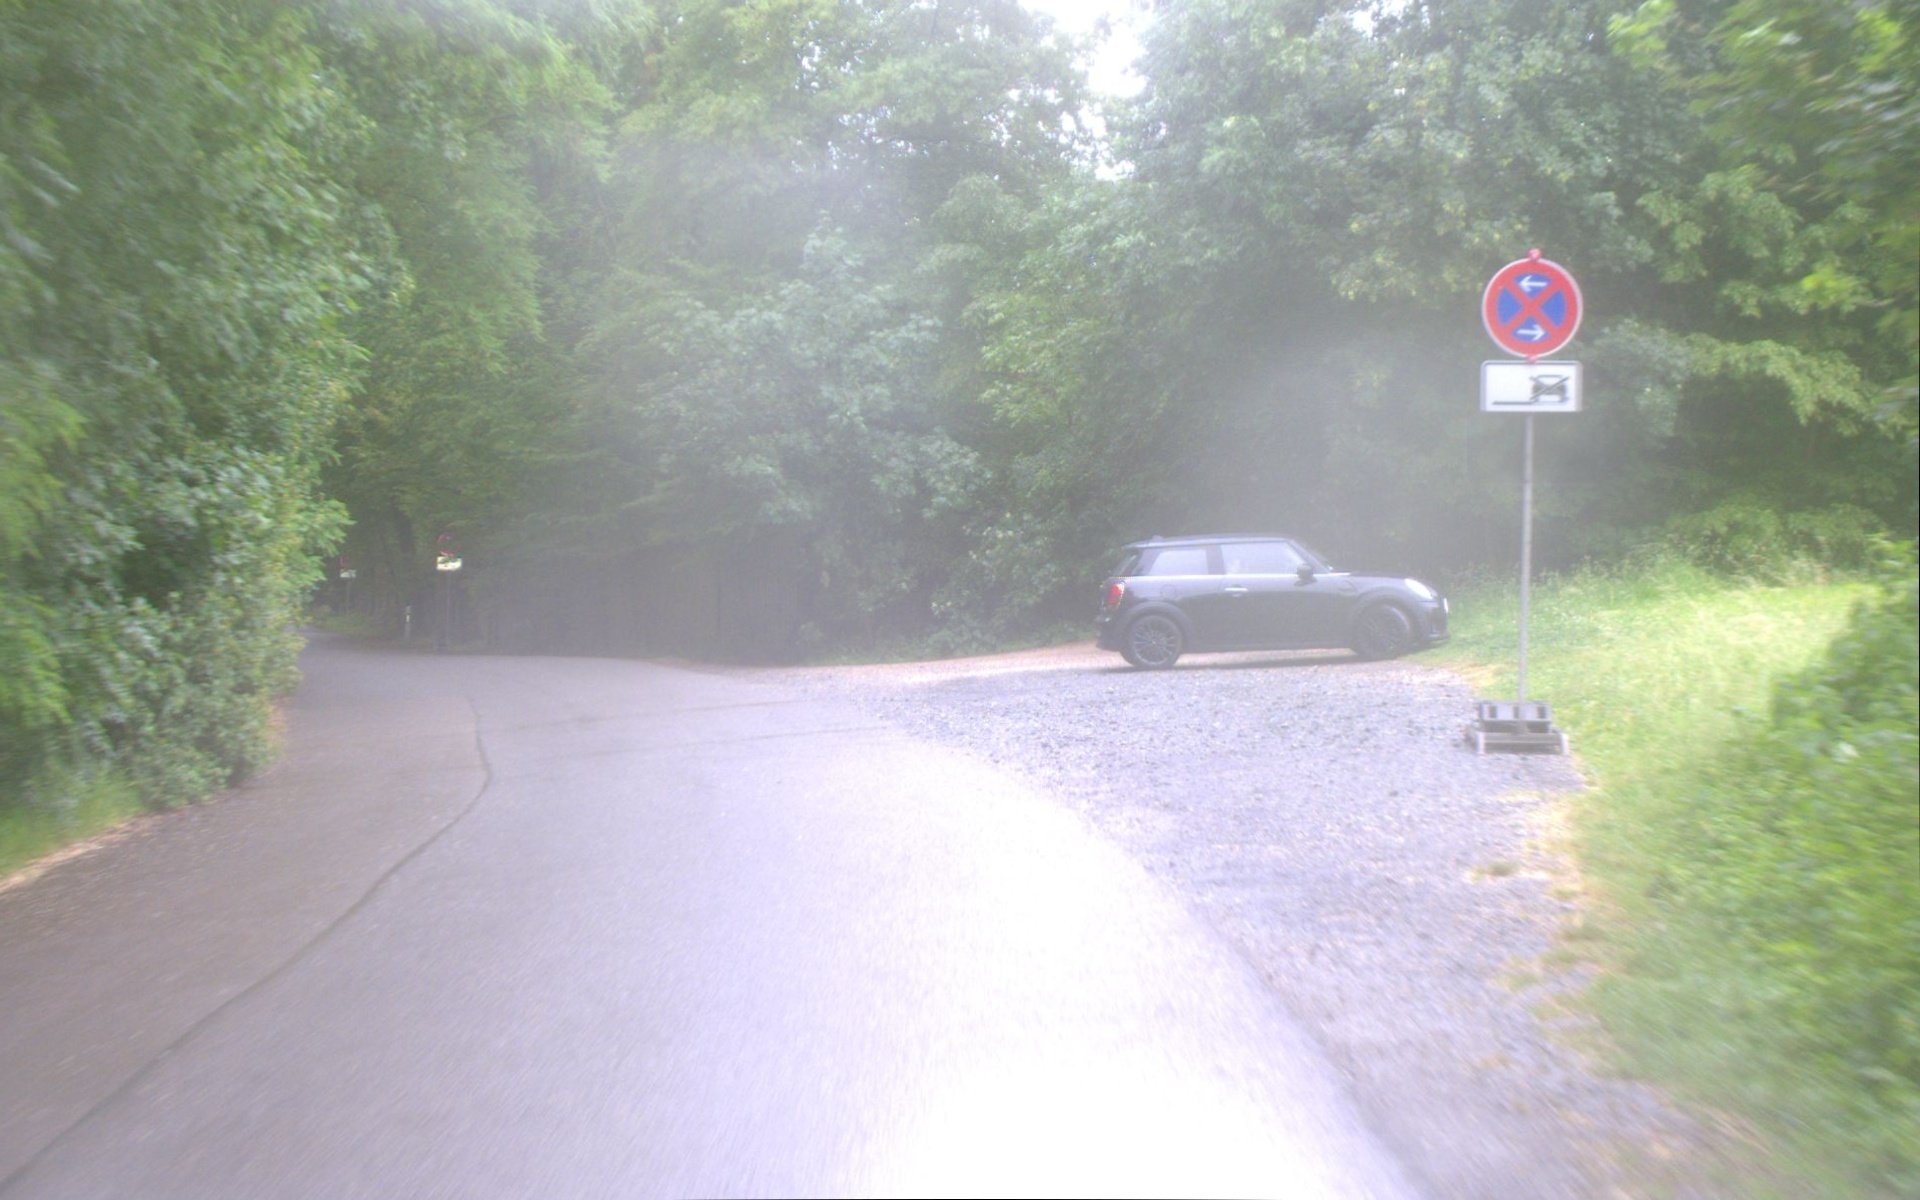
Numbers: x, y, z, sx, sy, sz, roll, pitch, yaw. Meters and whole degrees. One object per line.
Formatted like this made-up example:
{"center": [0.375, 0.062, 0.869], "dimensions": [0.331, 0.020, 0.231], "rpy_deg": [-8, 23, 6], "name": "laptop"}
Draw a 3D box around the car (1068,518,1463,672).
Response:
{"center": [3.277, -0.064, 37.510], "dimensions": [3.986, 1.386, 2.000], "rpy_deg": [-4, 1, -2], "name": "car"}
